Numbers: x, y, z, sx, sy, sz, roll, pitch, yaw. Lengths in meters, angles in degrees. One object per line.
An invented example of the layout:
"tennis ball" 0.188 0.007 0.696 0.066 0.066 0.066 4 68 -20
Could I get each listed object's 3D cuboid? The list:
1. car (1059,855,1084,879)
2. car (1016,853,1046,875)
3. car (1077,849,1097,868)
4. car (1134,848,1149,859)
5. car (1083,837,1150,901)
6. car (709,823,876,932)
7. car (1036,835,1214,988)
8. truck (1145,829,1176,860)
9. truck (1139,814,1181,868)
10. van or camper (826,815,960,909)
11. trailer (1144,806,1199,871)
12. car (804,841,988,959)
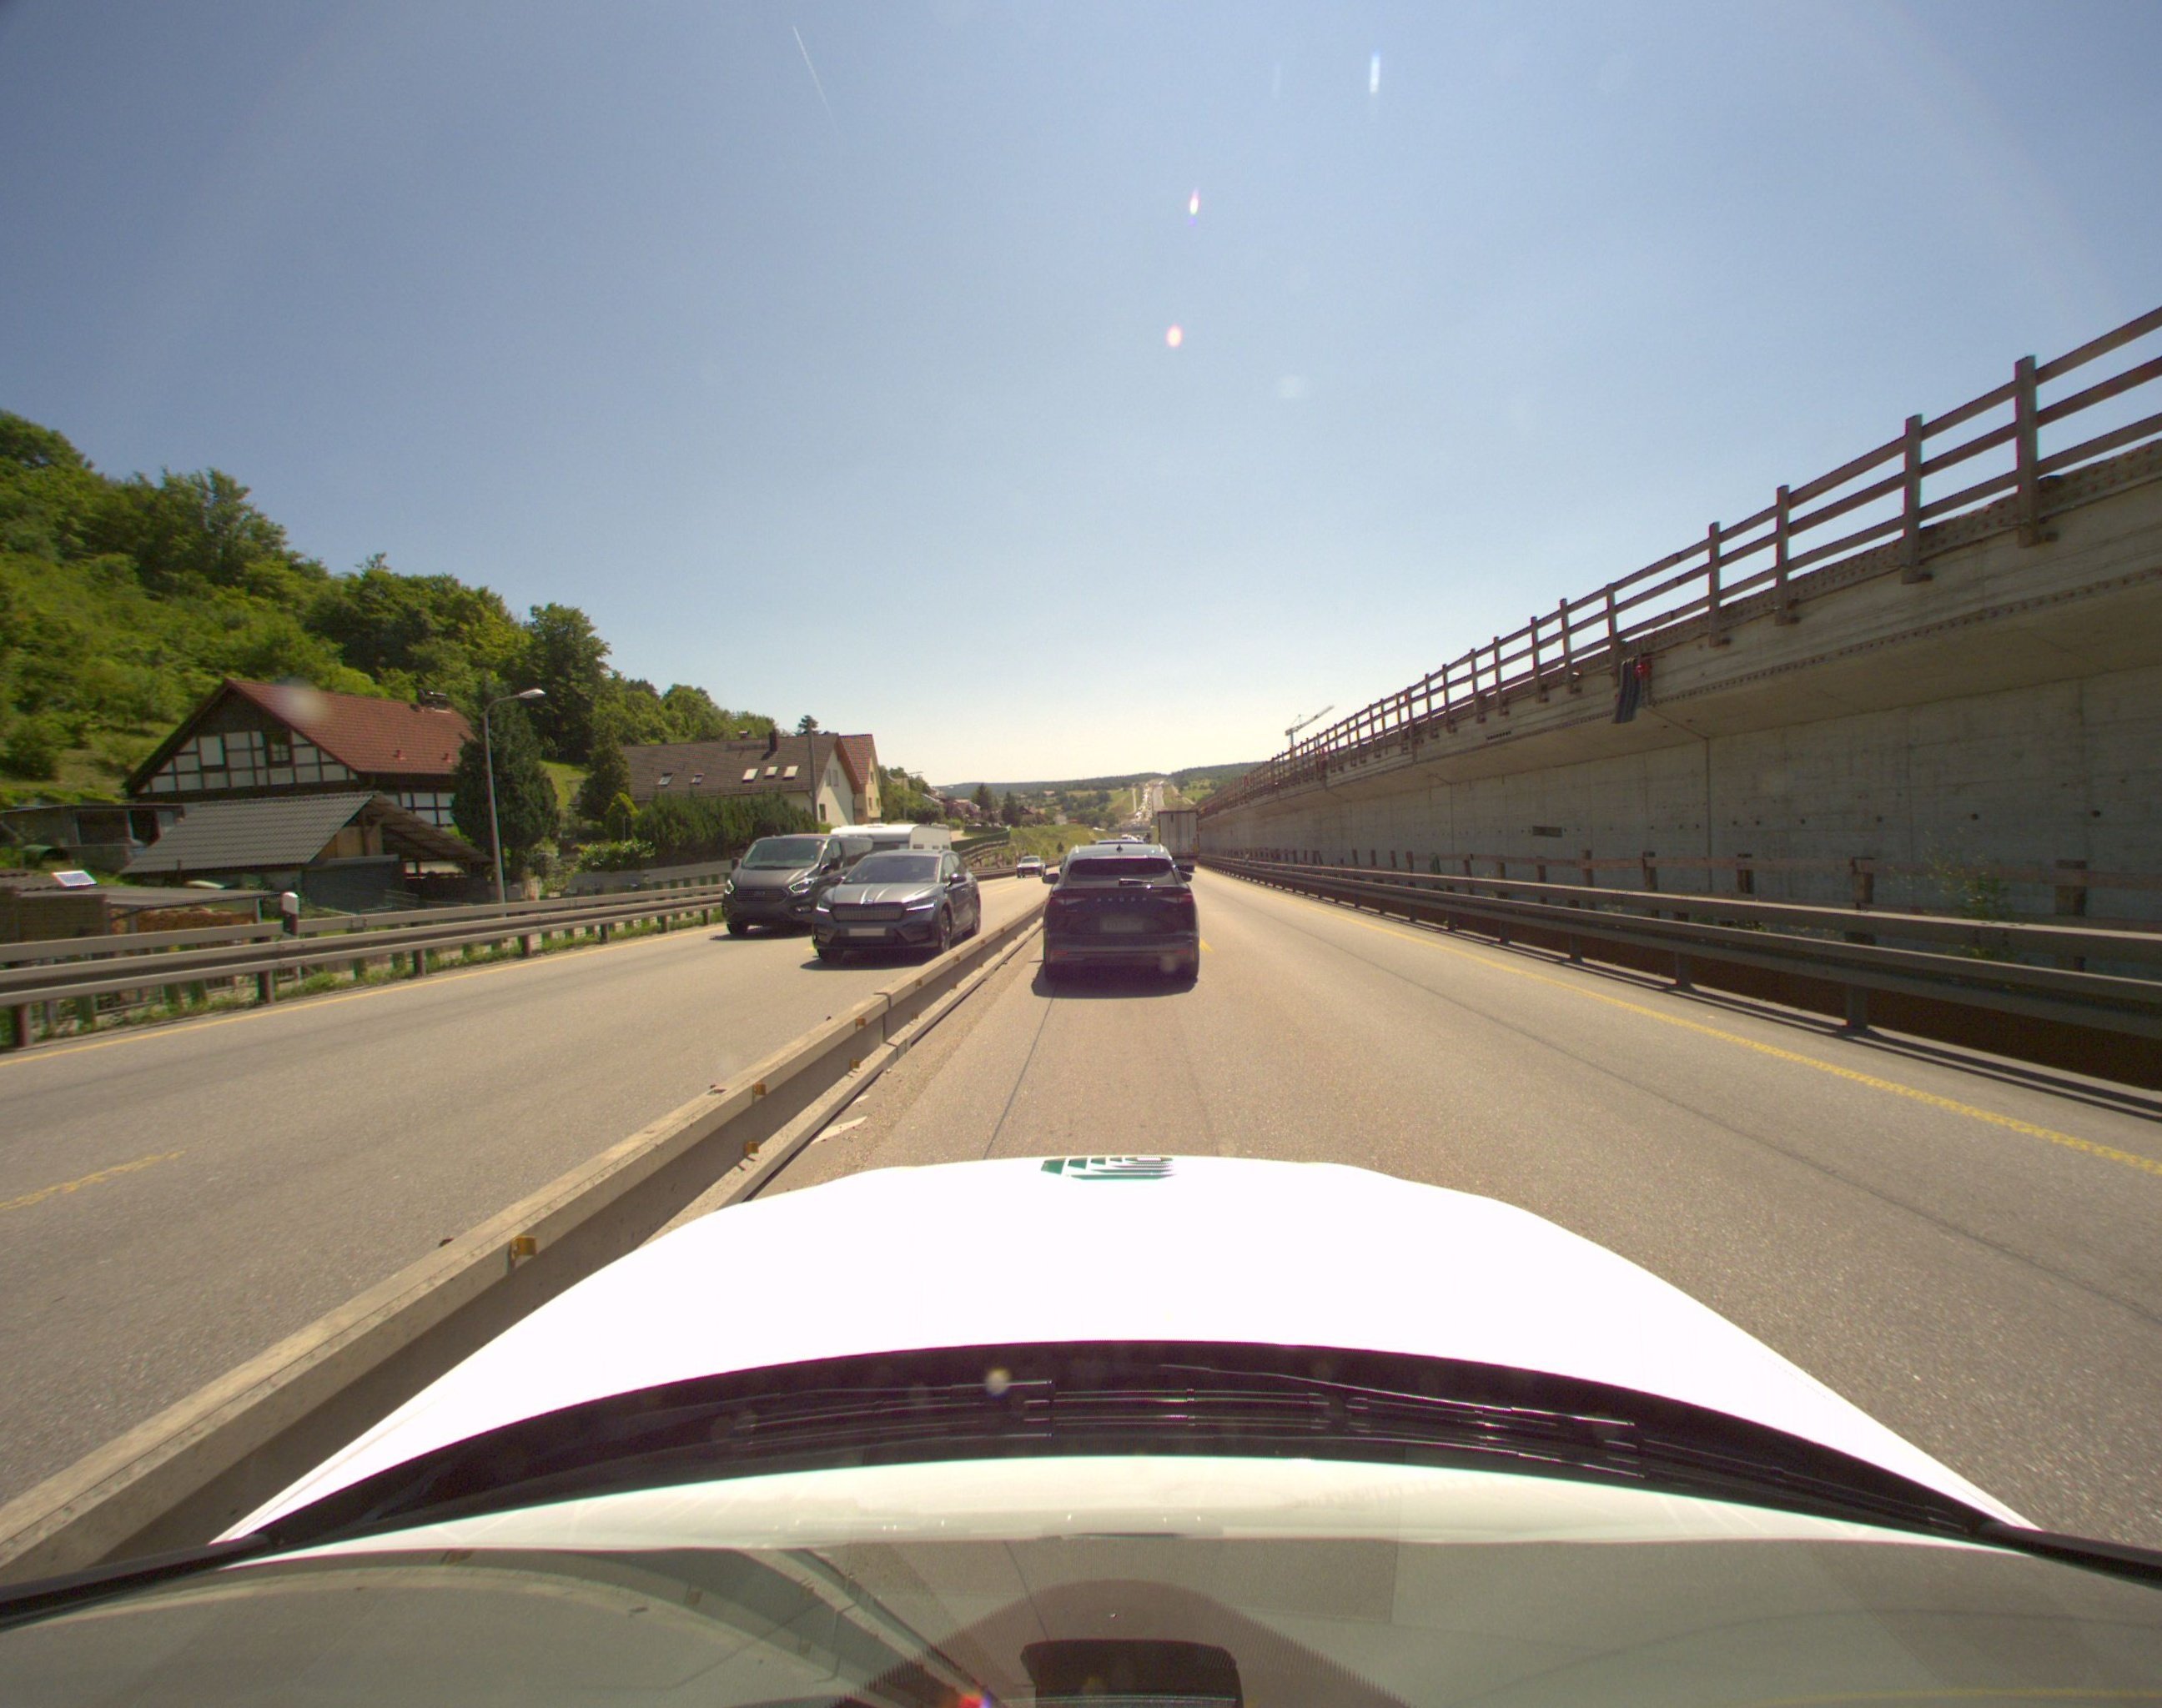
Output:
"car" -0.615 0.878 54.729 1.541 1.549 3.239 -1 -1 2
"car" -3.649 0.771 59.811 1.836 1.543 4.179 -1 -1 2
"car" 0.522 0.413 69.737 1.541 1.549 3.239 -1 -1 2
"car" 9.344 -0.107 125.642 1.987 1.585 3.836 -1 -1 0
"car" 1.065 0.431 26.067 1.703 1.881 3.994 -1 0 -4
"car" -5.917 0.479 17.270 1.986 2.014 4.001 -1 -1 2
"car" 0.365 0.635 10.568 1.839 1.586 3.901 -1 -1 -4
"truck" 8.926 -0.945 92.809 3.180 3.191 12.823 -1 -1 4
"truck" 6.229 -0.947 65.428 2.505 4.025 8.236 -1 -1 0
"van or camper" -5.546 0.266 25.087 2.344 2.516 6.332 -1 -1 3
"trailer" 6.220 -0.907 57.527 2.524 4.127 11.544 -1 -1 0
"car" -2.793 0.667 13.397 1.865 1.586 4.481 -1 -1 2
